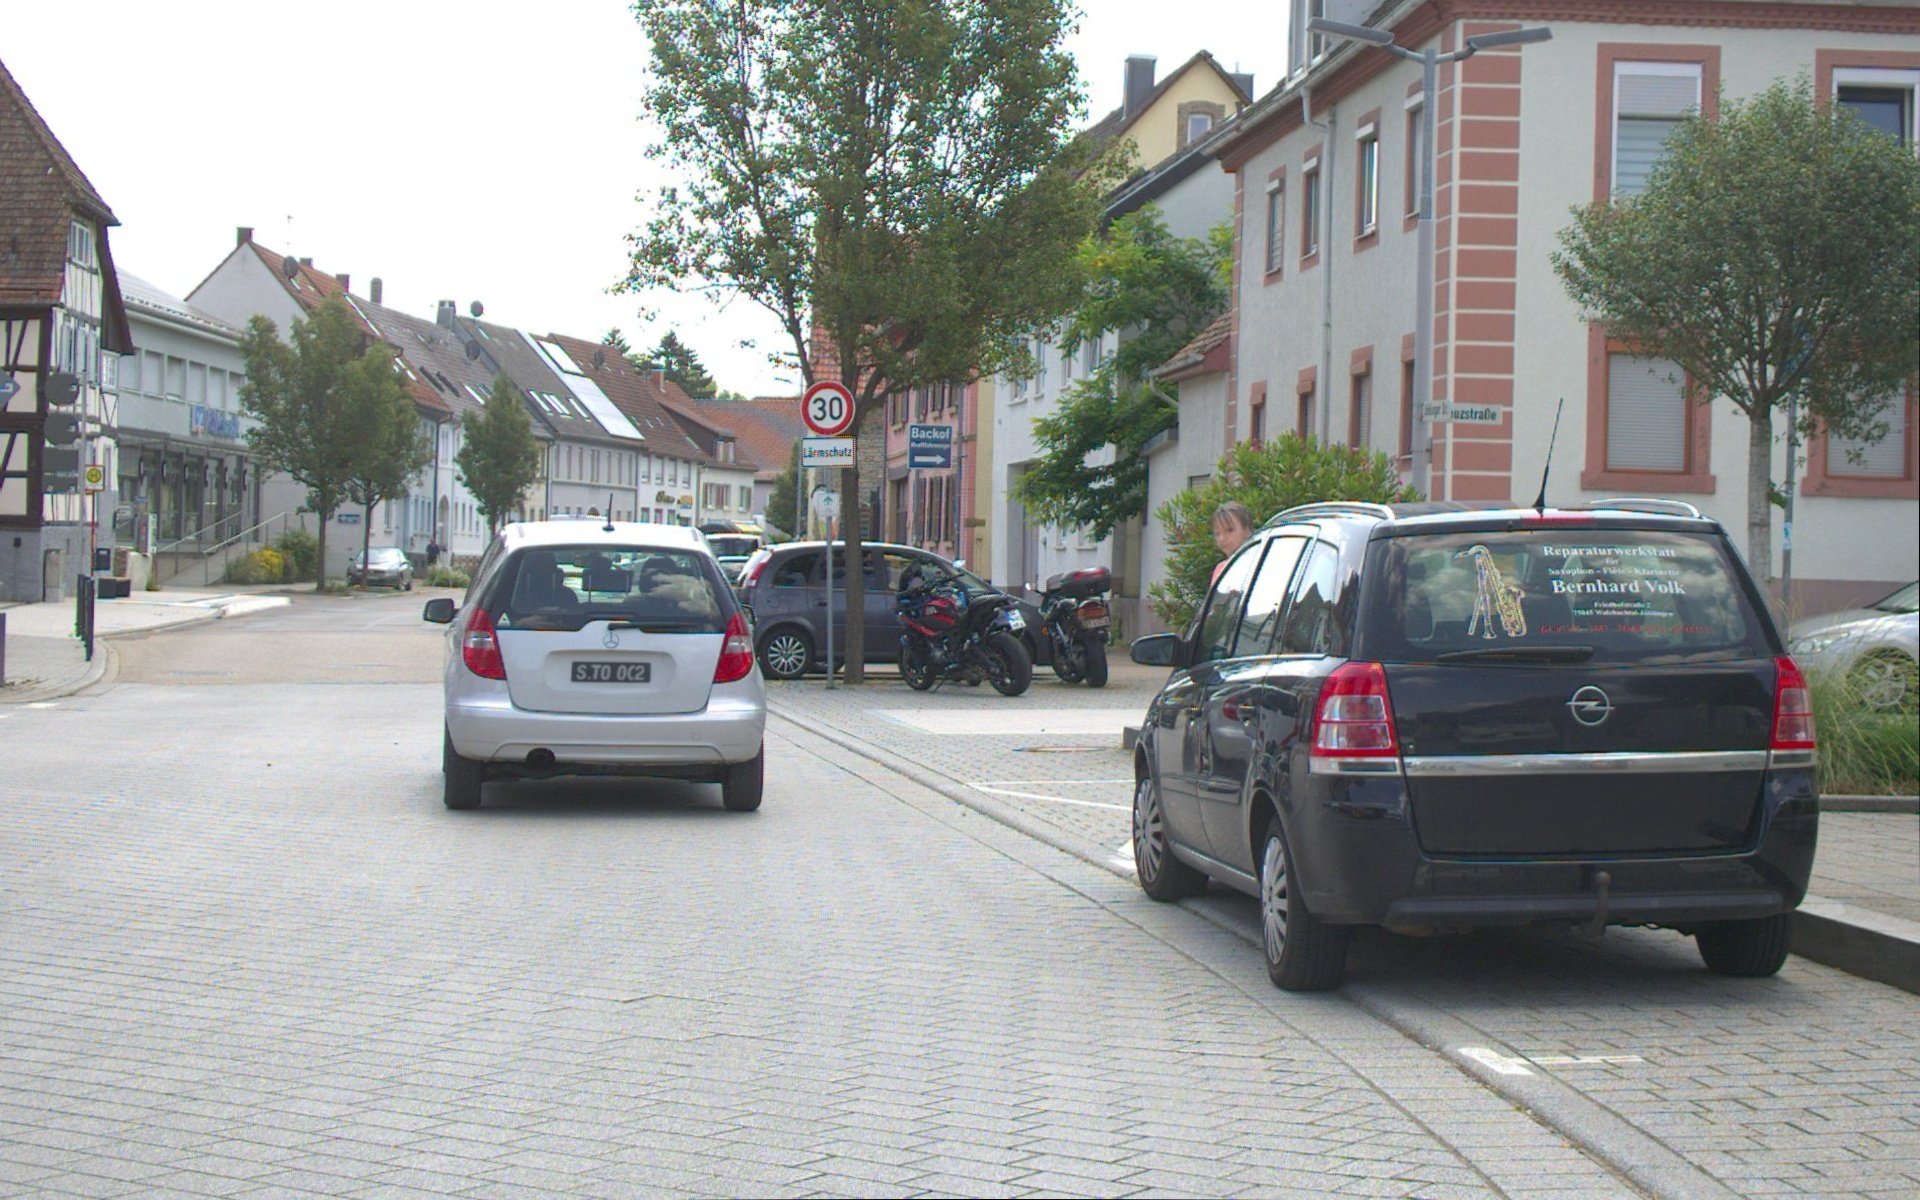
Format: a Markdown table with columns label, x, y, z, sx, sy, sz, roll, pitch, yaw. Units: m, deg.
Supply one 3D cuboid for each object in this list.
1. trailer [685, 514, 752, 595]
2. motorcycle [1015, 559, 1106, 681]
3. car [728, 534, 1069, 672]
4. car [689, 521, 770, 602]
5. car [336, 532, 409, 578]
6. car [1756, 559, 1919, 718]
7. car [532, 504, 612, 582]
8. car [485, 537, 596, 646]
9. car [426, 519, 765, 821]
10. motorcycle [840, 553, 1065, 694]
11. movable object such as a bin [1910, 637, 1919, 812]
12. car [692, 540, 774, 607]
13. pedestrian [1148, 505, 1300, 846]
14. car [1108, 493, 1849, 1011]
| label | x | y | z | sx | sy | sz | roll | pitch | yaw |
| --- | --- | --- | --- | --- | --- | --- | --- | --- | --- |
| trailer | -7.241 | -1.375 | 102.948 | 1.844 | 2.346 | 3.590 | 1 | 1 | -6 |
| motorcycle | 1.114 | 0.201 | 37.908 | 0.959 | 1.294 | 2.225 | -1 | 1 | 2 |
| car | -0.762 | 0.013 | 41.093 | 3.847 | 1.572 | 1.851 | -1 | 1 | -9 |
| car | -5.940 | -0.999 | 88.286 | 1.892 | 1.975 | 4.932 | -1 | 1 | -6 |
| car | -19.577 | -1.512 | 114.693 | 1.804 | 1.455 | 4.158 | 2 | 1 | -2 |
| car | 9.882 | 0.374 | 33.077 | 3.993 | 1.468 | 1.825 | 1 | 1 | 0 |
| car | -11.303 | -1.645 | 100.329 | 2.235 | 2.215 | 4.001 | 0 | 0 | -6 |
| car | -7.857 | -0.168 | 64.620 | 1.768 | 1.881 | 4.448 | 4 | 0 | -5 |
| car | -2.233 | 0.327 | 20.196 | 1.768 | 1.589 | 4.001 | 0 | 1 | -9 |
| motorcycle | -0.089 | 0.225 | 35.400 | 2.223 | 1.390 | 0.871 | 2 | 1 | 37 |
| movable object such as a bin | 5.212 | 0.638 | 16.459 | 0.734 | 0.863 | 1.436 | 2 | 1 | -9 |
| car | -5.327 | -0.639 | 80.295 | 1.774 | 1.490 | 4.162 | 1 | 1 | -6 |
| pedestrian | 1.284 | 0.359 | 16.790 | 0.639 | 1.623 | 0.620 | 1 | 1 | -3 |
| car | 1.684 | 0.435 | 12.699 | 1.768 | 1.559 | 4.419 | 1 | 1 | -4 |
